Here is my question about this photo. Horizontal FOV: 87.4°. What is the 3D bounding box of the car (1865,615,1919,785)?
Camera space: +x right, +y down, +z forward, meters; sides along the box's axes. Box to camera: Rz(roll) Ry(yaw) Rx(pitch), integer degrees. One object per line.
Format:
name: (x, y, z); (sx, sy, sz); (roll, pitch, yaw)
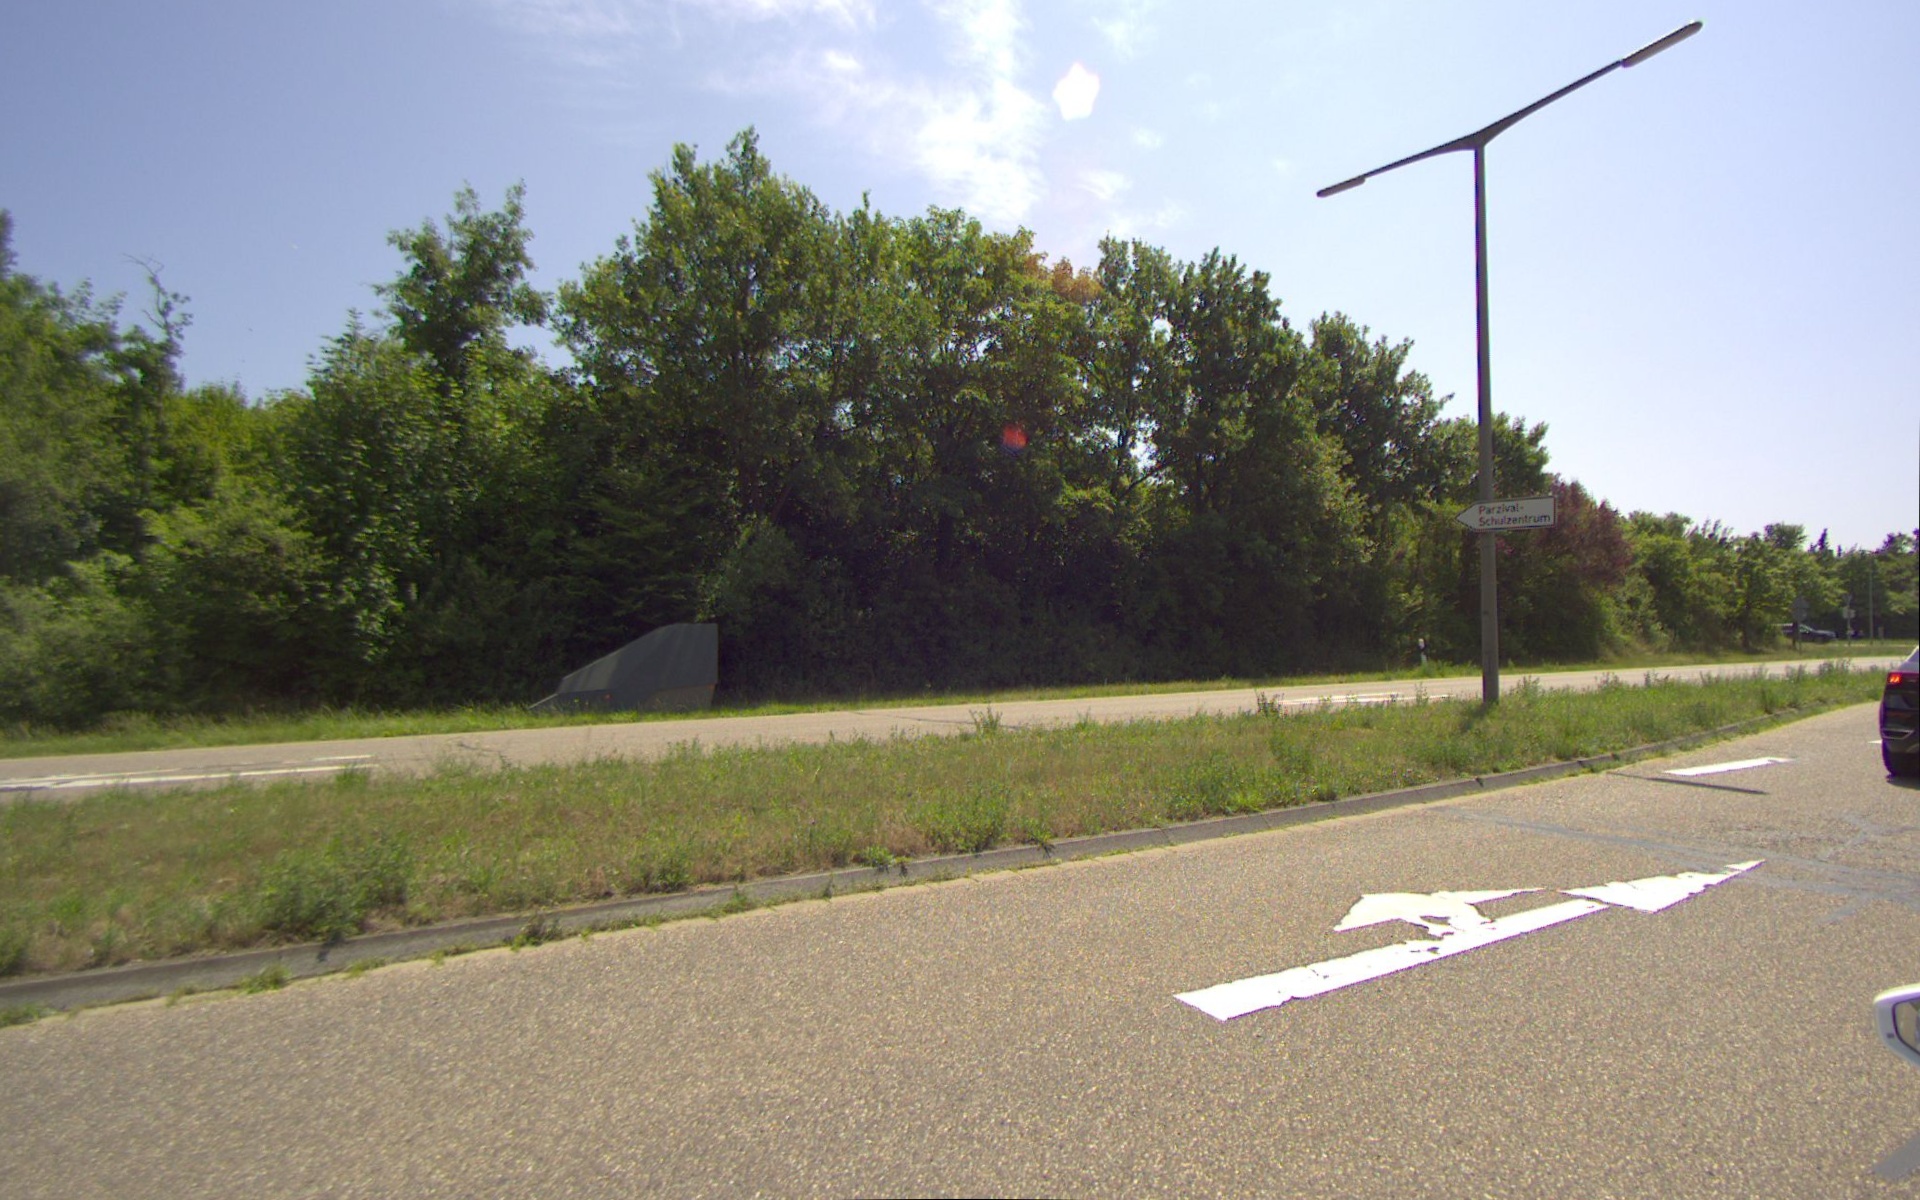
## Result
car: (10.788, 0.954, 9.928); (3.956, 1.576, 1.746); (1, -2, -32)

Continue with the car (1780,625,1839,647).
car: (77.850, 3.278, 92.099); (1.987, 1.855, 3.948); (1, -1, -44)
